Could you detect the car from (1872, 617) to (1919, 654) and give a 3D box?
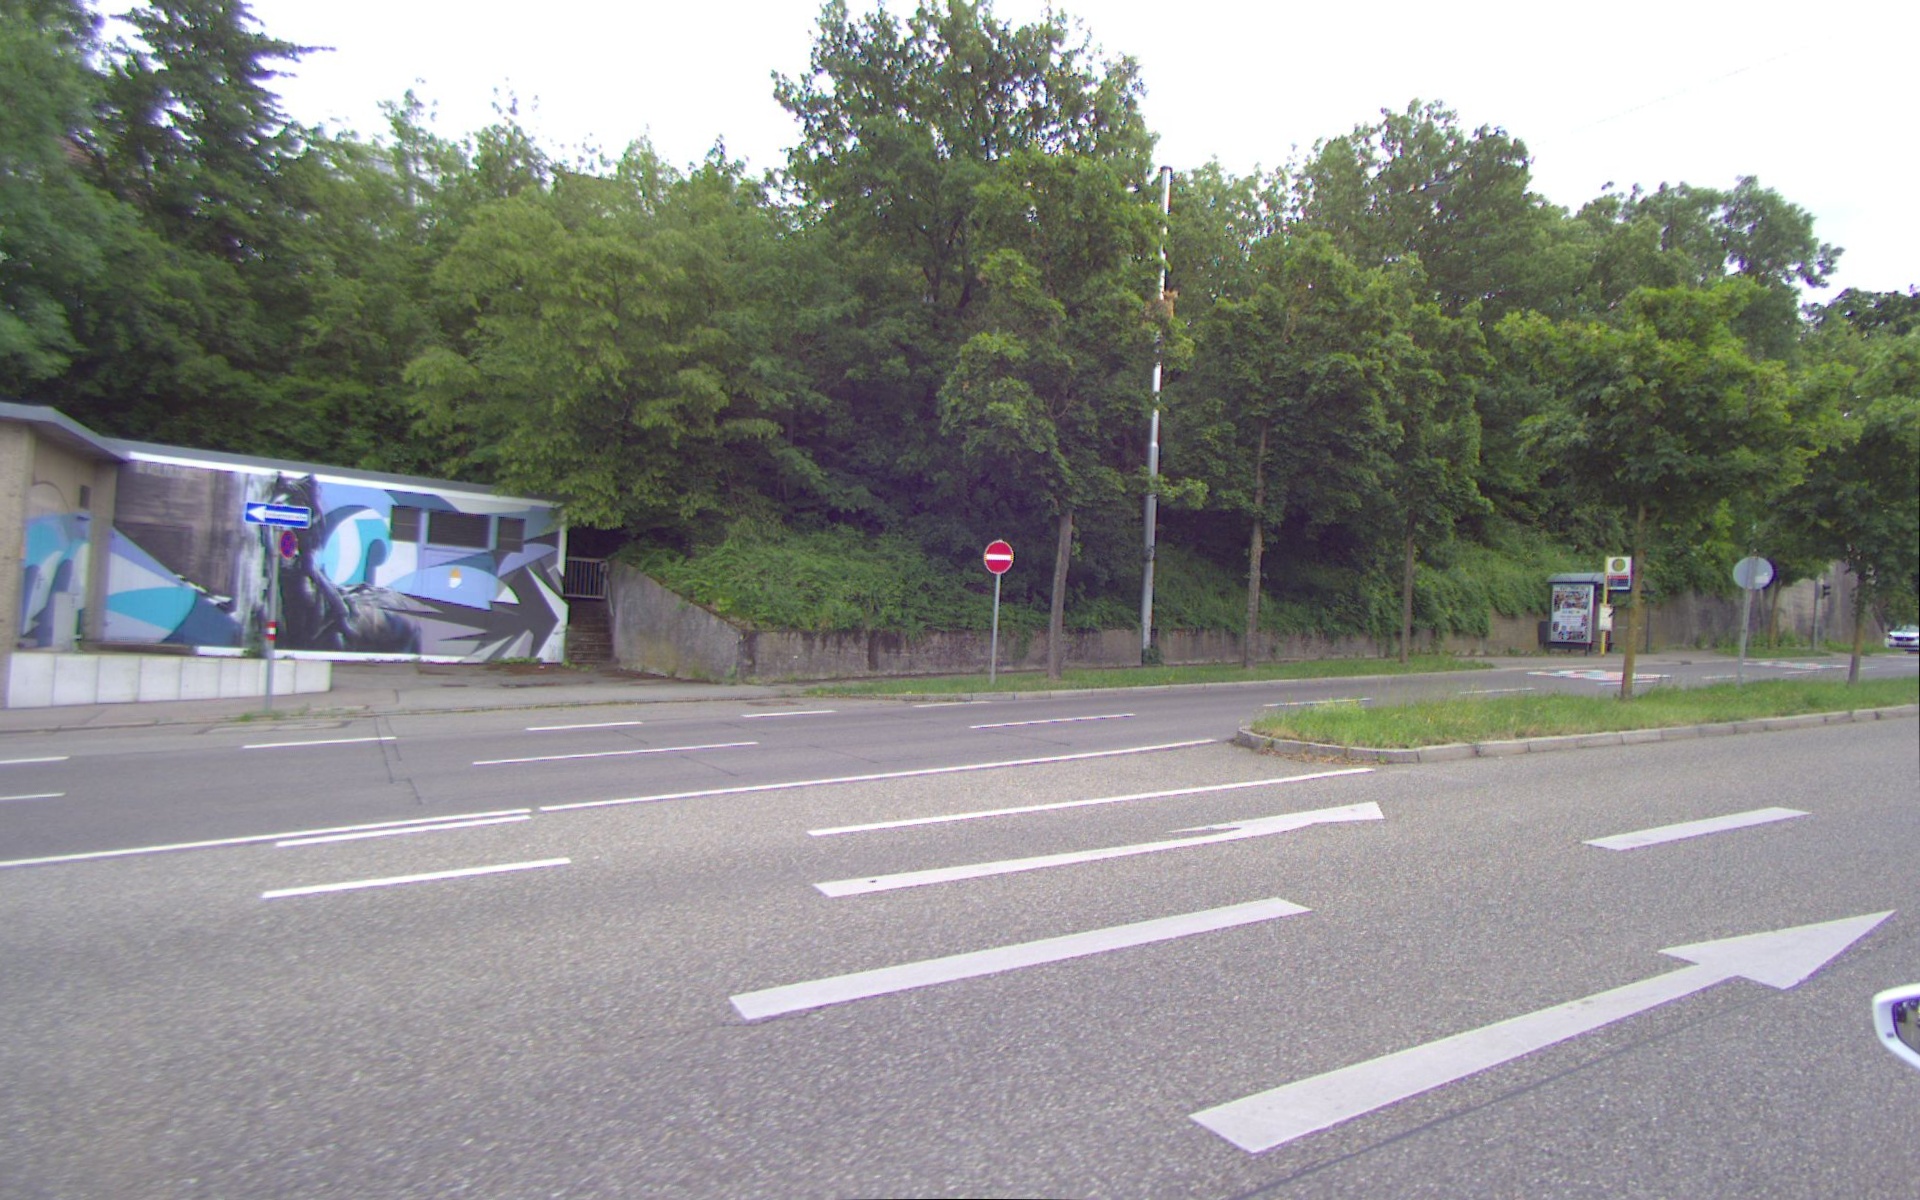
[{"bbox_3d":[47.878,1.746,50.567,4.233,1.692,1.849,1,2,-33],"label":"car"}]
